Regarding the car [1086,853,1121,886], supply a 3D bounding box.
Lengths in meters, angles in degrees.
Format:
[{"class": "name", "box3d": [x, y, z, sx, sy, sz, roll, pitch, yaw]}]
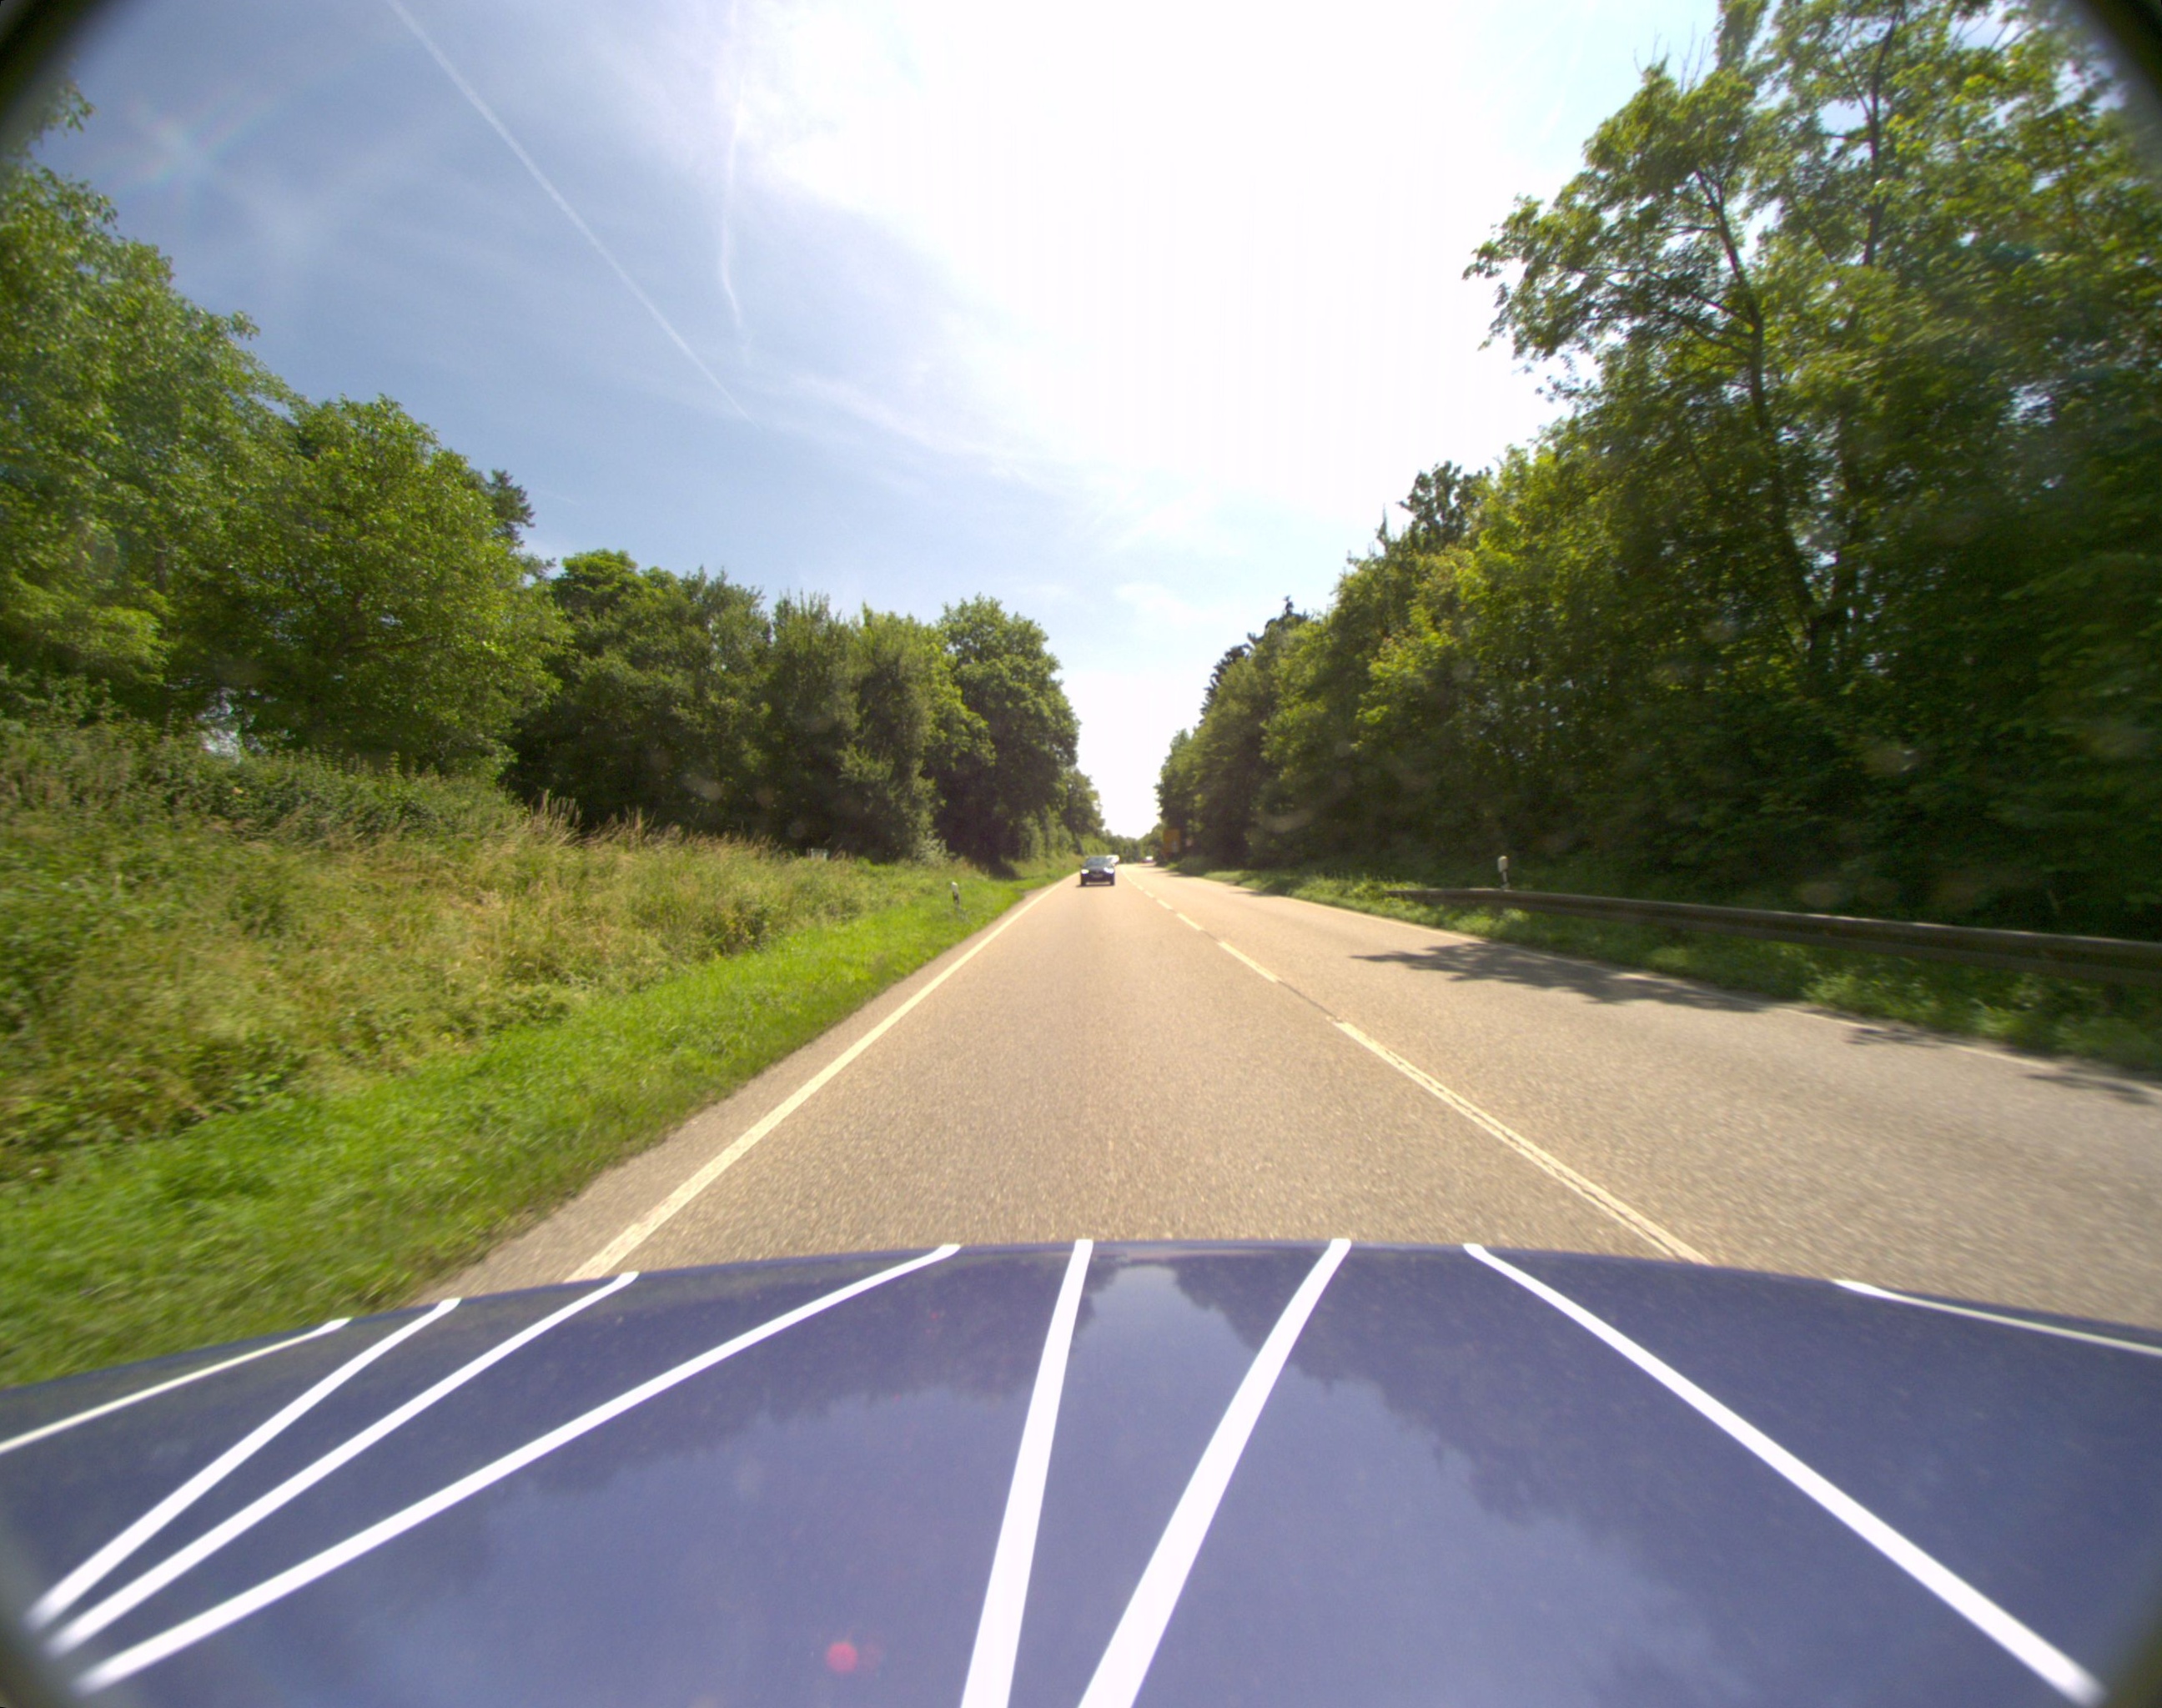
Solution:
[{"class": "car", "box3d": [1.207, 0.761, 39.578, 1.626, 1.535, 4.001, -3, 0, 3]}]

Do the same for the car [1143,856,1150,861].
[{"class": "car", "box3d": [19.950, 1.419, 232.146, 1.807, 1.444, 4.390, -2, -1, 9]}]

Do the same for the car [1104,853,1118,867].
[{"class": "car", "box3d": [4.135, 0.828, 103.430, 1.770, 1.673, 4.002, -4, -1, 2]}]
